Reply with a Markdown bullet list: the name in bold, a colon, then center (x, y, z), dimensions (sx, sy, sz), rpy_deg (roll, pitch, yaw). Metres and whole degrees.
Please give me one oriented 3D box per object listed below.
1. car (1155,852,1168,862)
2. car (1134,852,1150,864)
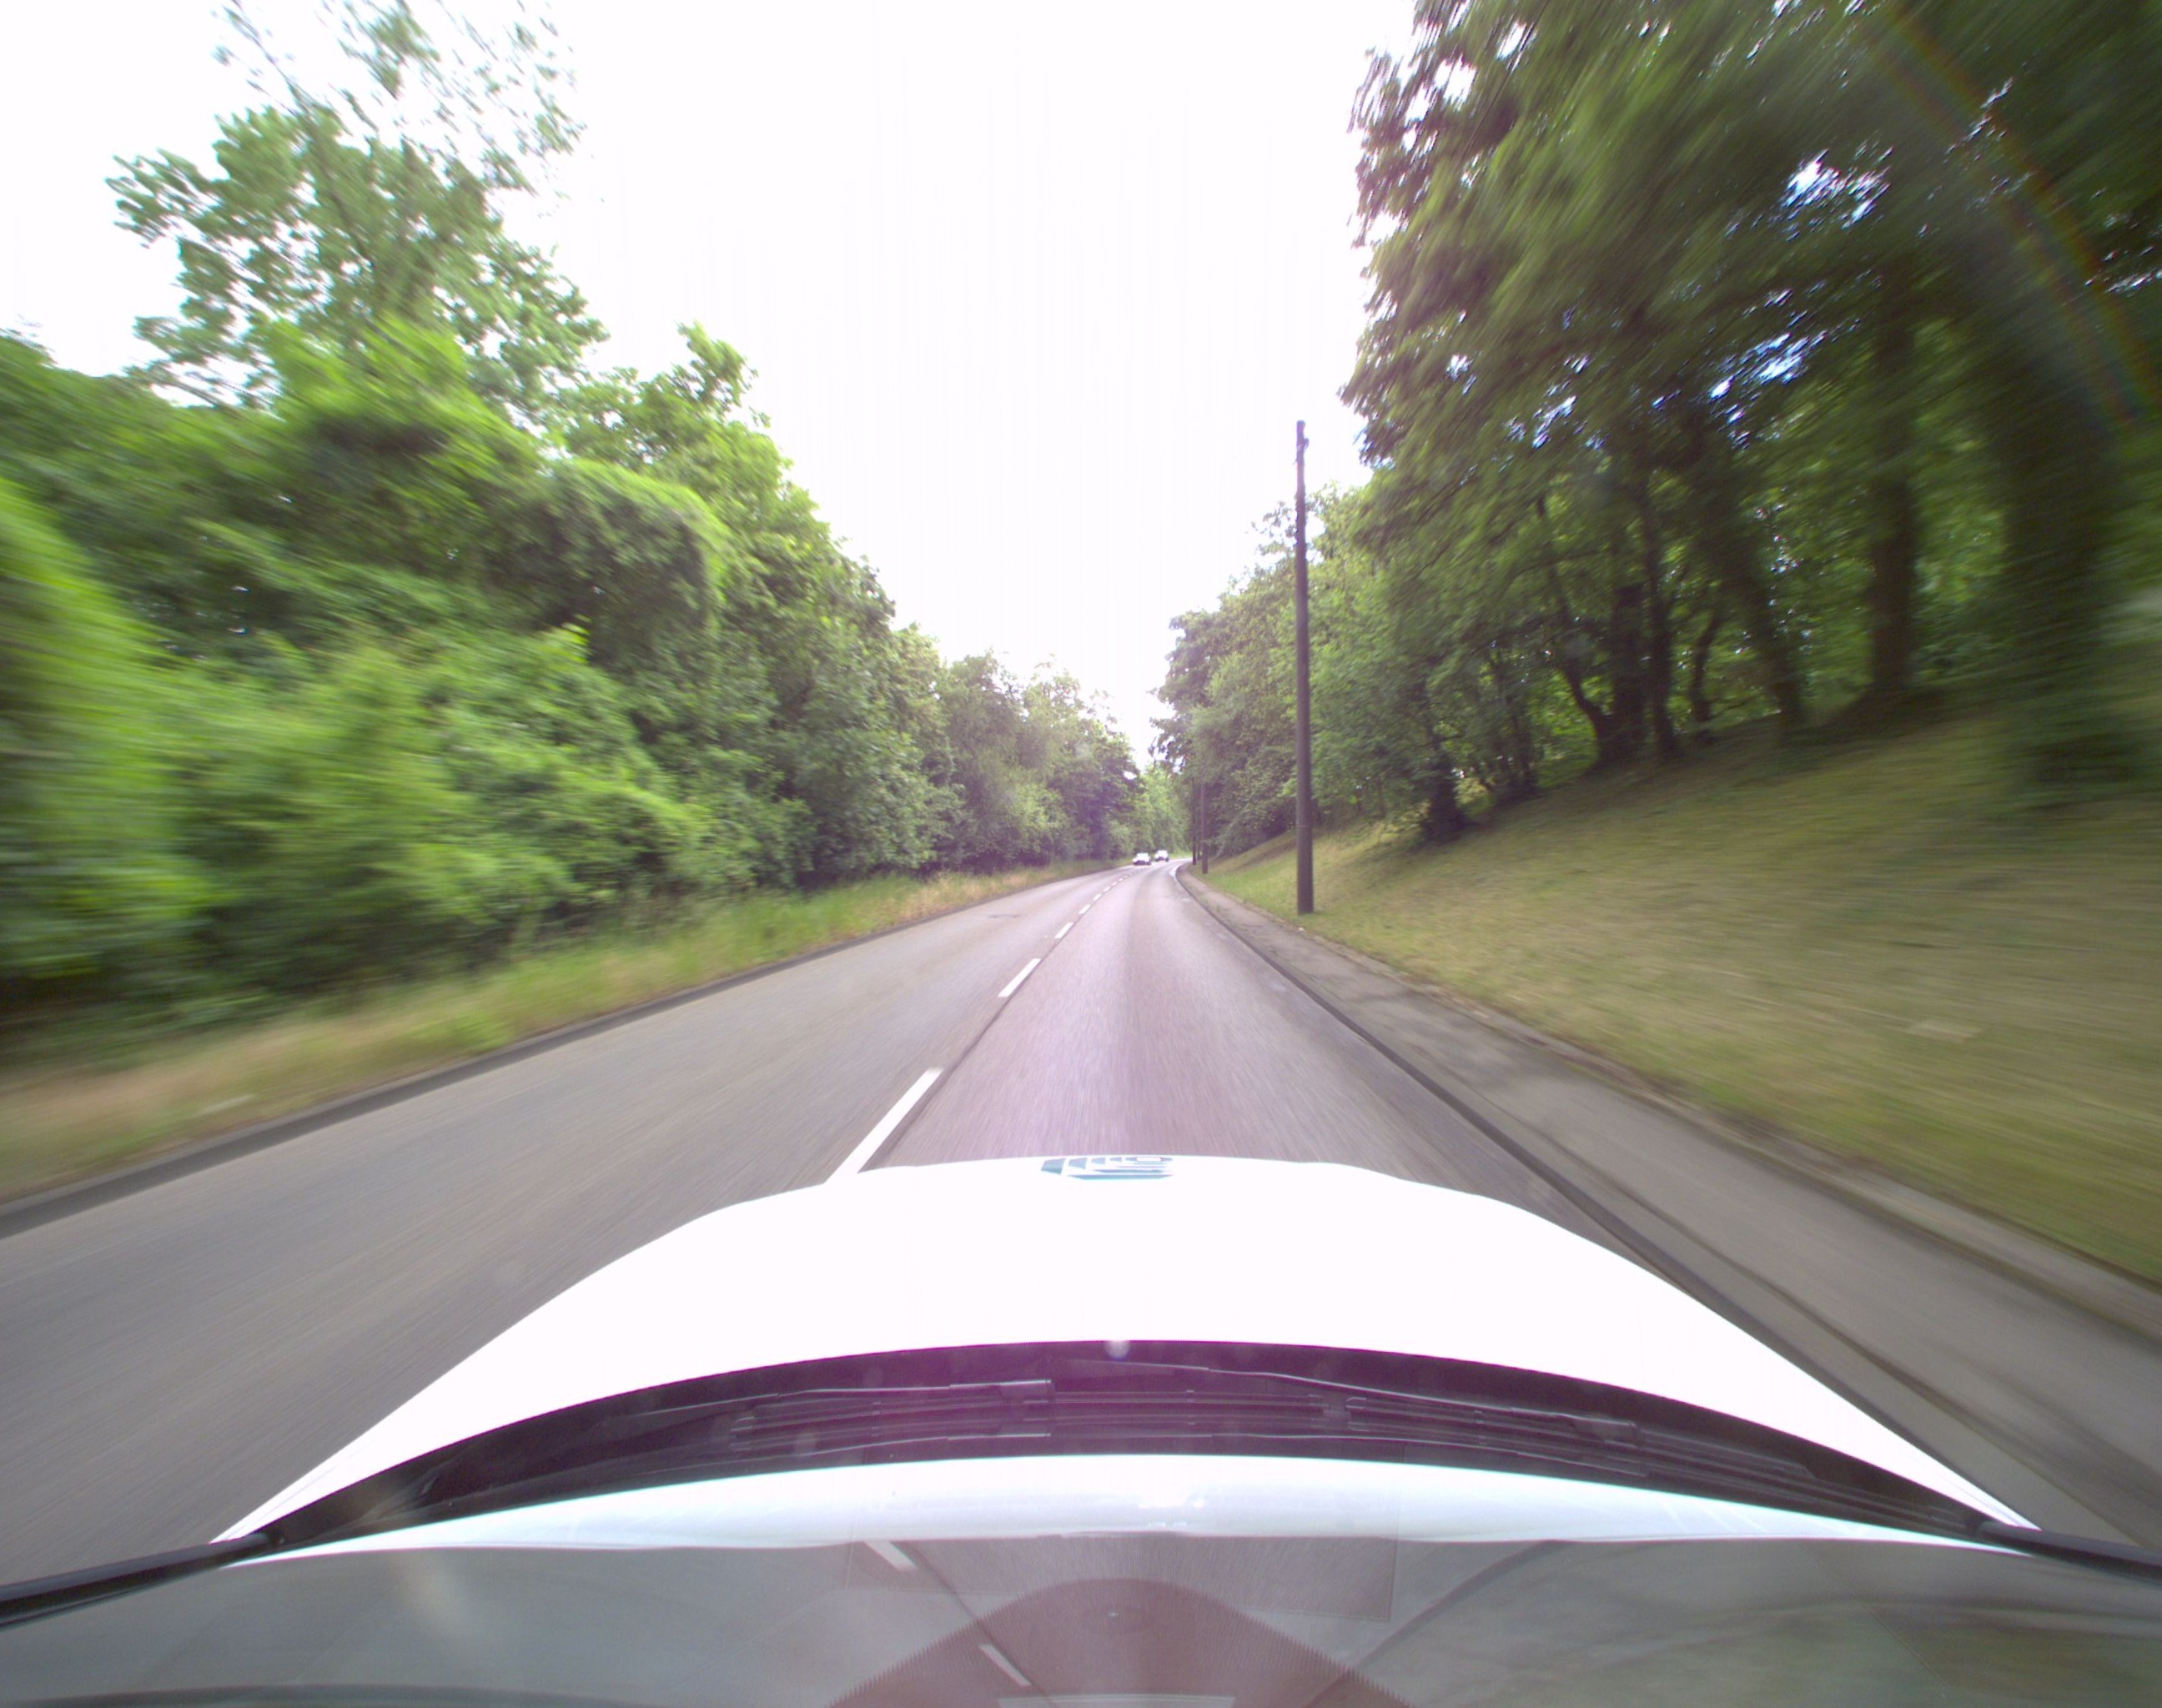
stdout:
- **car**: center (12.653, 0.470, 127.827), dimensions (1.933, 1.581, 4.446), rpy_deg (-1, 0, 5)
- **car**: center (7.309, 0.504, 97.450), dimensions (1.801, 1.420, 4.005), rpy_deg (-1, 0, 5)
